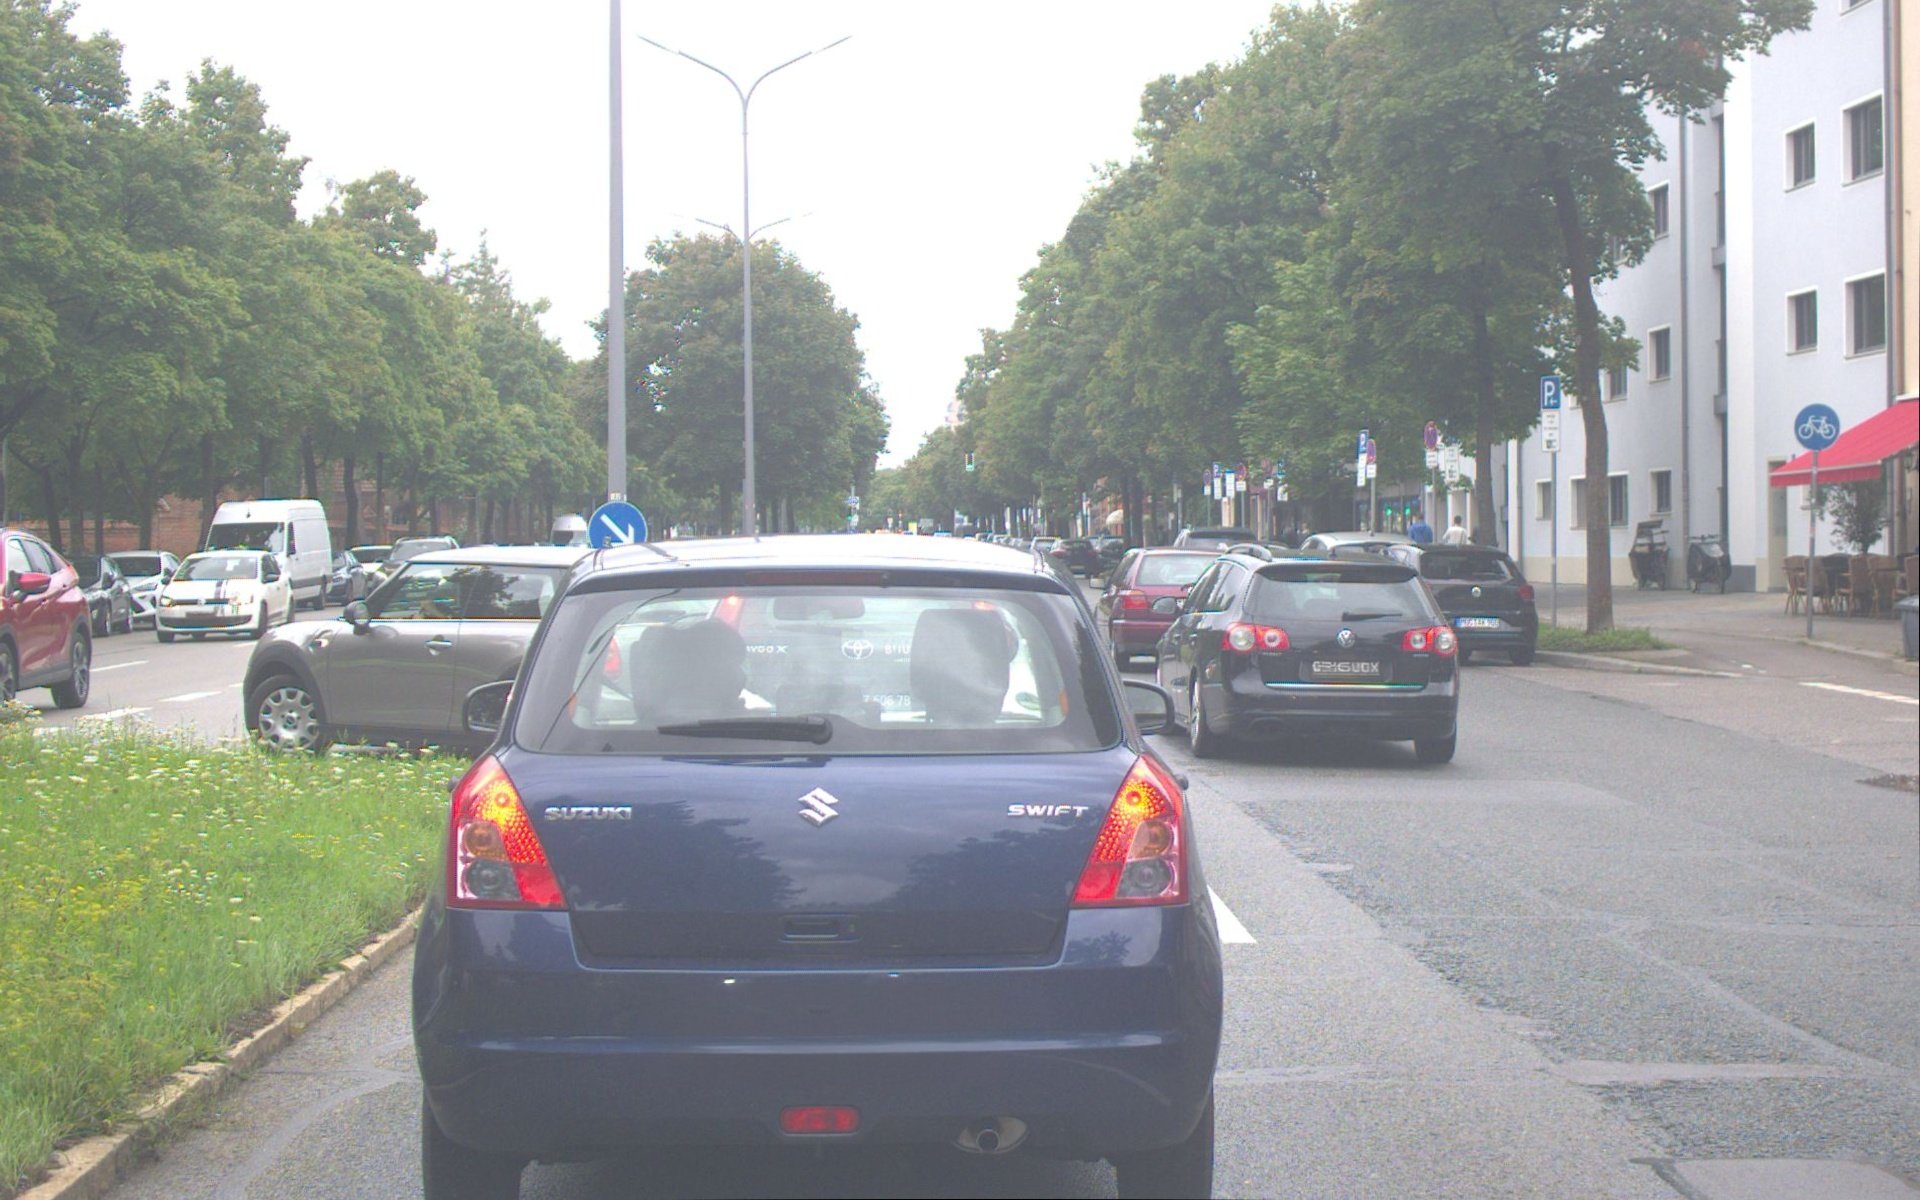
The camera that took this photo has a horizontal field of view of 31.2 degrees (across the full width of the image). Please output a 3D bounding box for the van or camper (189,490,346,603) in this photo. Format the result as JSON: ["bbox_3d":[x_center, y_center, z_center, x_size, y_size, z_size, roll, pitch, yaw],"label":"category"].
[{"bbox_3d":[-15.991,-1.244,79.826,2.117,2.473,7.449,1,1,0],"label":"van or camper"}]

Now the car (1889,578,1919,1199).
[{"bbox_3d":[2.748,0.731,4.403,1.758,1.408,4.463,1,1,-2],"label":"car"}]

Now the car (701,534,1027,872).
[{"bbox_3d":[-0.474,0.425,16.776,1.444,1.478,3.107,0,1,-2],"label":"car"}]

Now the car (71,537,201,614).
[{"bbox_3d":[-15.696,-0.488,65.655,1.632,1.426,3.879,0,1,-2],"label":"car"}]

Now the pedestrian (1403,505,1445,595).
[{"bbox_3d":[10.473,-1.131,77.655,0.794,2.007,1.006,0,1,0],"label":"pedestrian"}]

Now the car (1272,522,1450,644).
[{"bbox_3d":[5.397,-0.273,46.743,1.791,1.553,4.225,-1,1,-2],"label":"car"}]

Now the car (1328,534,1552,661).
[{"bbox_3d":[5.800,-0.070,42.003,1.865,1.412,4.225,-1,1,-4],"label":"car"}]

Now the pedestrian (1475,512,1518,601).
[{"bbox_3d":[12.117,-0.985,77.685,0.794,2.007,1.006,0,1,0],"label":"pedestrian"}]

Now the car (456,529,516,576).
[{"bbox_3d":[-16.299,-1.632,118.369,1.632,1.577,3.879,0,1,-2],"label":"car"}]

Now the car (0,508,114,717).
[{"bbox_3d":[-8.731,0.103,29.372,1.904,1.690,4.245,-3,1,0],"label":"car"}]

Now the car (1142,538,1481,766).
[{"bbox_3d":[2.408,0.299,24.605,1.731,1.427,4.443,1,1,-3],"label":"car"}]

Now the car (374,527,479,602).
[{"bbox_3d":[-12.360,-0.841,79.818,1.766,1.618,4.507,-2,1,-1],"label":"car"}]

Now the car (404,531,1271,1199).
[{"bbox_3d":[-0.299,0.584,8.649,1.682,1.496,3.919,0,1,-2],"label":"car"}]

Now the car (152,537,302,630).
[{"bbox_3d":[-11.767,-0.296,55.414,1.618,1.370,3.838,-2,1,-1],"label":"car"}]

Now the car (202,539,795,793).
[{"bbox_3d":[-2.988,0.353,21.912,3.730,1.458,1.684,1,2,40],"label":"car"}]

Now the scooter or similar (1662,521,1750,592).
[{"bbox_3d":[14.017,-0.832,64.674,1.033,1.303,2.755,0,1,0],"label":"scooter or similar"}]

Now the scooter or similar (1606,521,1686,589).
[{"bbox_3d":[13.637,-0.910,68.460,1.033,1.303,2.755,0,1,0],"label":"scooter or similar"}]

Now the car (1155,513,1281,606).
[{"bbox_3d":[4.835,-0.797,64.931,1.865,1.677,4.225,-1,1,-2],"label":"car"}]

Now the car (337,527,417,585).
[{"bbox_3d":[-16.115,-1.225,95.170,1.632,1.577,3.879,0,1,-2],"label":"car"}]

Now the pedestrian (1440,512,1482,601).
[{"bbox_3d":[11.301,-0.991,77.619,0.794,2.007,1.006,0,1,0],"label":"pedestrian"}]

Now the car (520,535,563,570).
[{"bbox_3d":[-19.251,-2.212,158.289,1.632,1.577,3.879,0,1,-2],"label":"car"}]

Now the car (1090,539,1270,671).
[{"bbox_3d":[2.437,0.019,38.872,1.682,1.379,3.919,1,1,-1],"label":"car"}]
